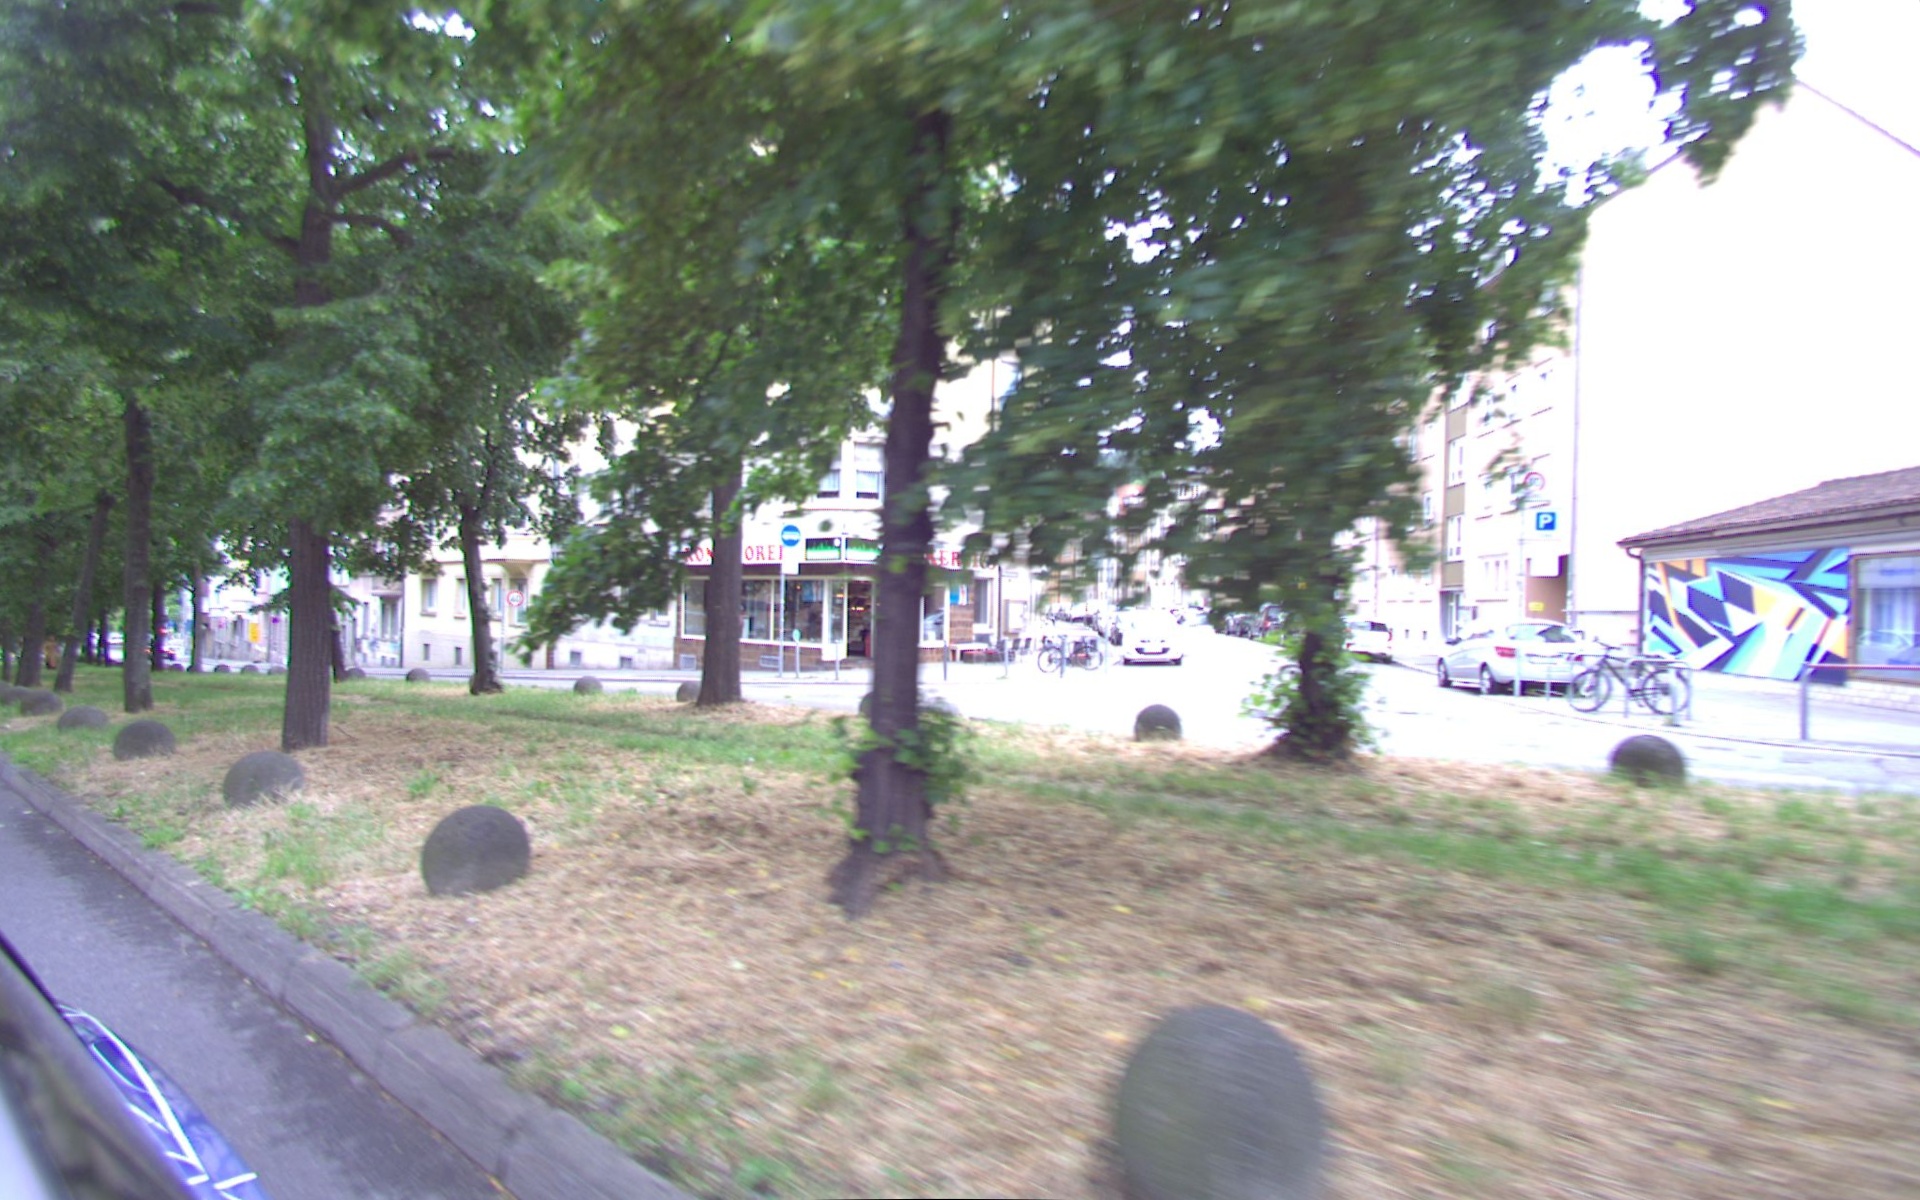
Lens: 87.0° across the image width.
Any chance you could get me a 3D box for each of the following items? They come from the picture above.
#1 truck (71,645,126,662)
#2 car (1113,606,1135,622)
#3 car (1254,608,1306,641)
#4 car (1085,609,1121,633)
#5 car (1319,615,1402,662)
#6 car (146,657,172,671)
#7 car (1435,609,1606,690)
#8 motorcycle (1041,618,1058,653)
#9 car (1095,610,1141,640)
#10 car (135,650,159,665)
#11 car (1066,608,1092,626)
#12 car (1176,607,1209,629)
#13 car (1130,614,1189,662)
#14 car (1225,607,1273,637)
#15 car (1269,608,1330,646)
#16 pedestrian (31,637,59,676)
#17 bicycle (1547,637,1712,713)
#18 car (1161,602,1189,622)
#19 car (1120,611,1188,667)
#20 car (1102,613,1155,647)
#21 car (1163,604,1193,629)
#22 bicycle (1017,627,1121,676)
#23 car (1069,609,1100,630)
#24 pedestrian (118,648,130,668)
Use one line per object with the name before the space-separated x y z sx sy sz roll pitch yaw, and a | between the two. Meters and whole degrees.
truck | -141.219 8.718 166.040 2.746 2.744 6.426 -1 -3 14
car | 16.438 1.395 101.462 1.931 1.490 3.893 1 -2 5
car | 15.181 1.179 48.192 1.775 1.490 3.889 0 -2 9
car | 8.747 1.272 62.198 1.753 1.412 3.803 0 0 1
car | 13.503 1.304 34.316 1.775 1.490 3.889 0 -2 9
car | -78.775 6.298 99.508 1.736 1.393 4.674 3 -5 -41
car | 11.512 1.070 21.122 1.801 1.490 4.030 0 -4 9
motorcycle | 3.236 1.267 36.503 0.523 1.165 2.522 0 0 6
car | 7.905 1.224 50.793 1.753 1.412 3.803 0 0 1
car | -94.982 6.751 118.243 1.794 1.649 4.684 3 -4 -43
car | 9.603 1.357 81.911 1.753 1.412 3.803 0 0 1
car | 16.596 1.283 72.383 1.773 1.490 3.893 1 -2 5
car | 6.708 1.274 34.331 1.801 1.523 3.756 0 -2 9
car | 15.471 1.207 54.417 1.773 1.490 3.893 1 -2 5
car | 14.360 1.160 42.973 1.775 1.490 3.889 0 -2 9
pedestrian | -41.754 2.571 46.187 0.823 1.725 1.124 5 -4 -42
bicycle | 10.489 1.154 15.945 2.021 1.093 0.759 0 0 20
car | 17.550 1.016 82.815 1.773 1.490 3.893 1 -2 5
car | 5.627 1.116 29.655 1.801 1.523 3.756 0 -2 9
car | 7.443 1.281 44.917 1.753 1.412 3.803 0 0 1
car | 16.622 1.299 77.437 1.773 1.865 3.893 1 -2 5
bicycle | 2.697 1.256 25.001 2.417 1.054 0.871 -2 0 -22
car | 8.584 1.308 69.884 1.753 1.412 3.803 0 0 1
pedestrian | -63.885 4.423 77.355 0.690 1.471 0.705 0 -3 -41
